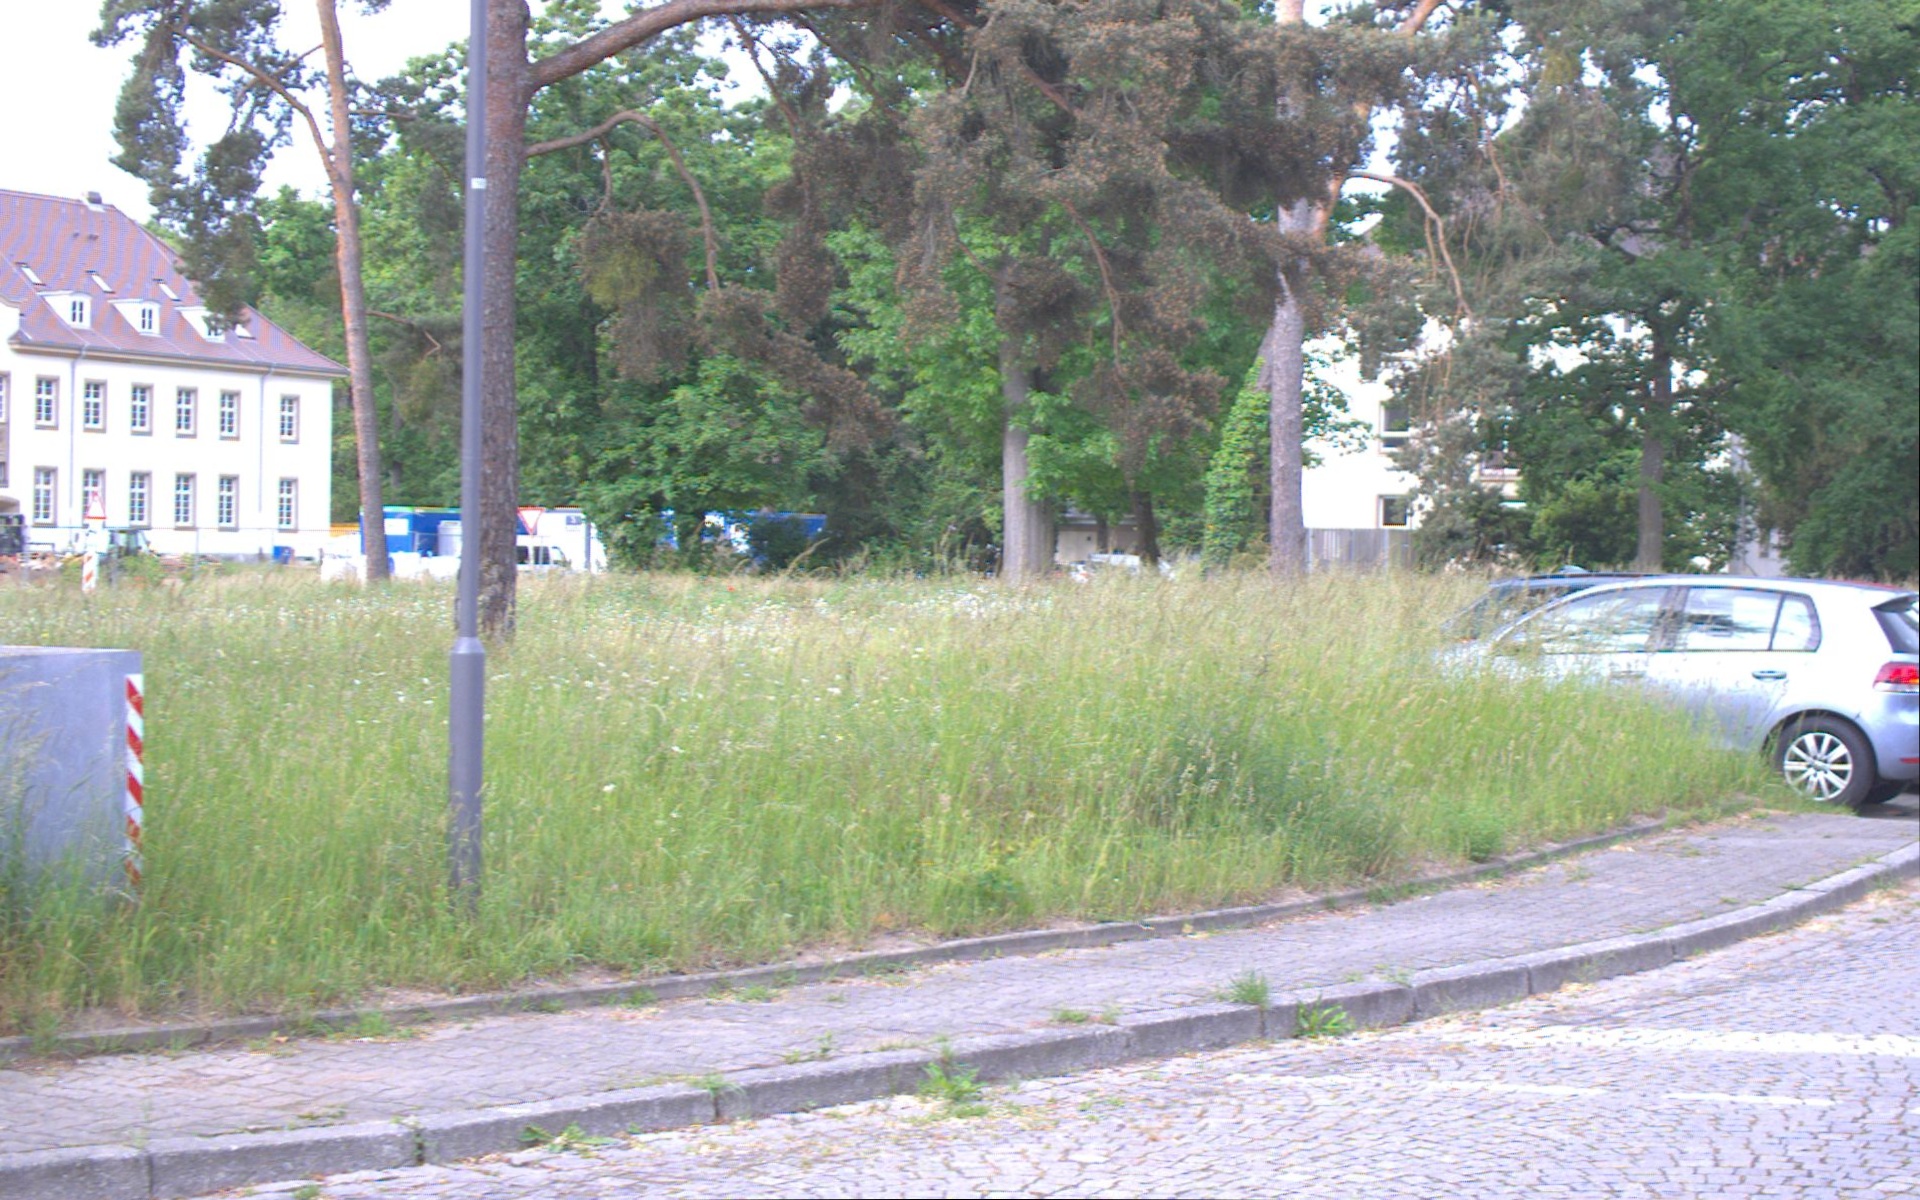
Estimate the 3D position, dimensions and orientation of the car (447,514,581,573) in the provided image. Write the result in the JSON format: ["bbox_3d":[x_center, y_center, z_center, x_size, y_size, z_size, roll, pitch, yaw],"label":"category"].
[{"bbox_3d":[-15.901,-2.004,122.725,1.997,2.007,5.221,1,0,29],"label":"car"}]

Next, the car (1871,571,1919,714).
[{"bbox_3d":[11.932,0.479,36.207,4.173,1.486,1.862,1,1,28],"label":"car"}]

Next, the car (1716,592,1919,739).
[{"bbox_3d":[9.213,0.602,31.359,4.172,1.262,1.828,1,1,28],"label":"car"}]

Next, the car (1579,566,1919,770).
[{"bbox_3d":[7.288,0.516,27.106,4.380,1.502,1.933,1,1,25],"label":"car"}]

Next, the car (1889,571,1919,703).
[{"bbox_3d":[12.806,0.451,38.968,4.074,1.492,1.843,1,1,28],"label":"car"}]

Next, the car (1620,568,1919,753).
[{"bbox_3d":[7.942,0.503,29.347,4.172,1.471,1.862,1,1,26],"label":"car"}]

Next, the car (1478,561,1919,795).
[{"bbox_3d":[6.051,0.526,24.660,4.255,1.542,1.933,1,1,23],"label":"car"}]

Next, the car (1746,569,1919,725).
[{"bbox_3d":[10.072,0.467,33.897,4.172,1.477,1.843,1,1,28],"label":"car"}]

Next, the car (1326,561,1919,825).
[{"bbox_3d":[4.600,0.543,22.340,3.992,1.537,1.903,1,1,26],"label":"car"}]
